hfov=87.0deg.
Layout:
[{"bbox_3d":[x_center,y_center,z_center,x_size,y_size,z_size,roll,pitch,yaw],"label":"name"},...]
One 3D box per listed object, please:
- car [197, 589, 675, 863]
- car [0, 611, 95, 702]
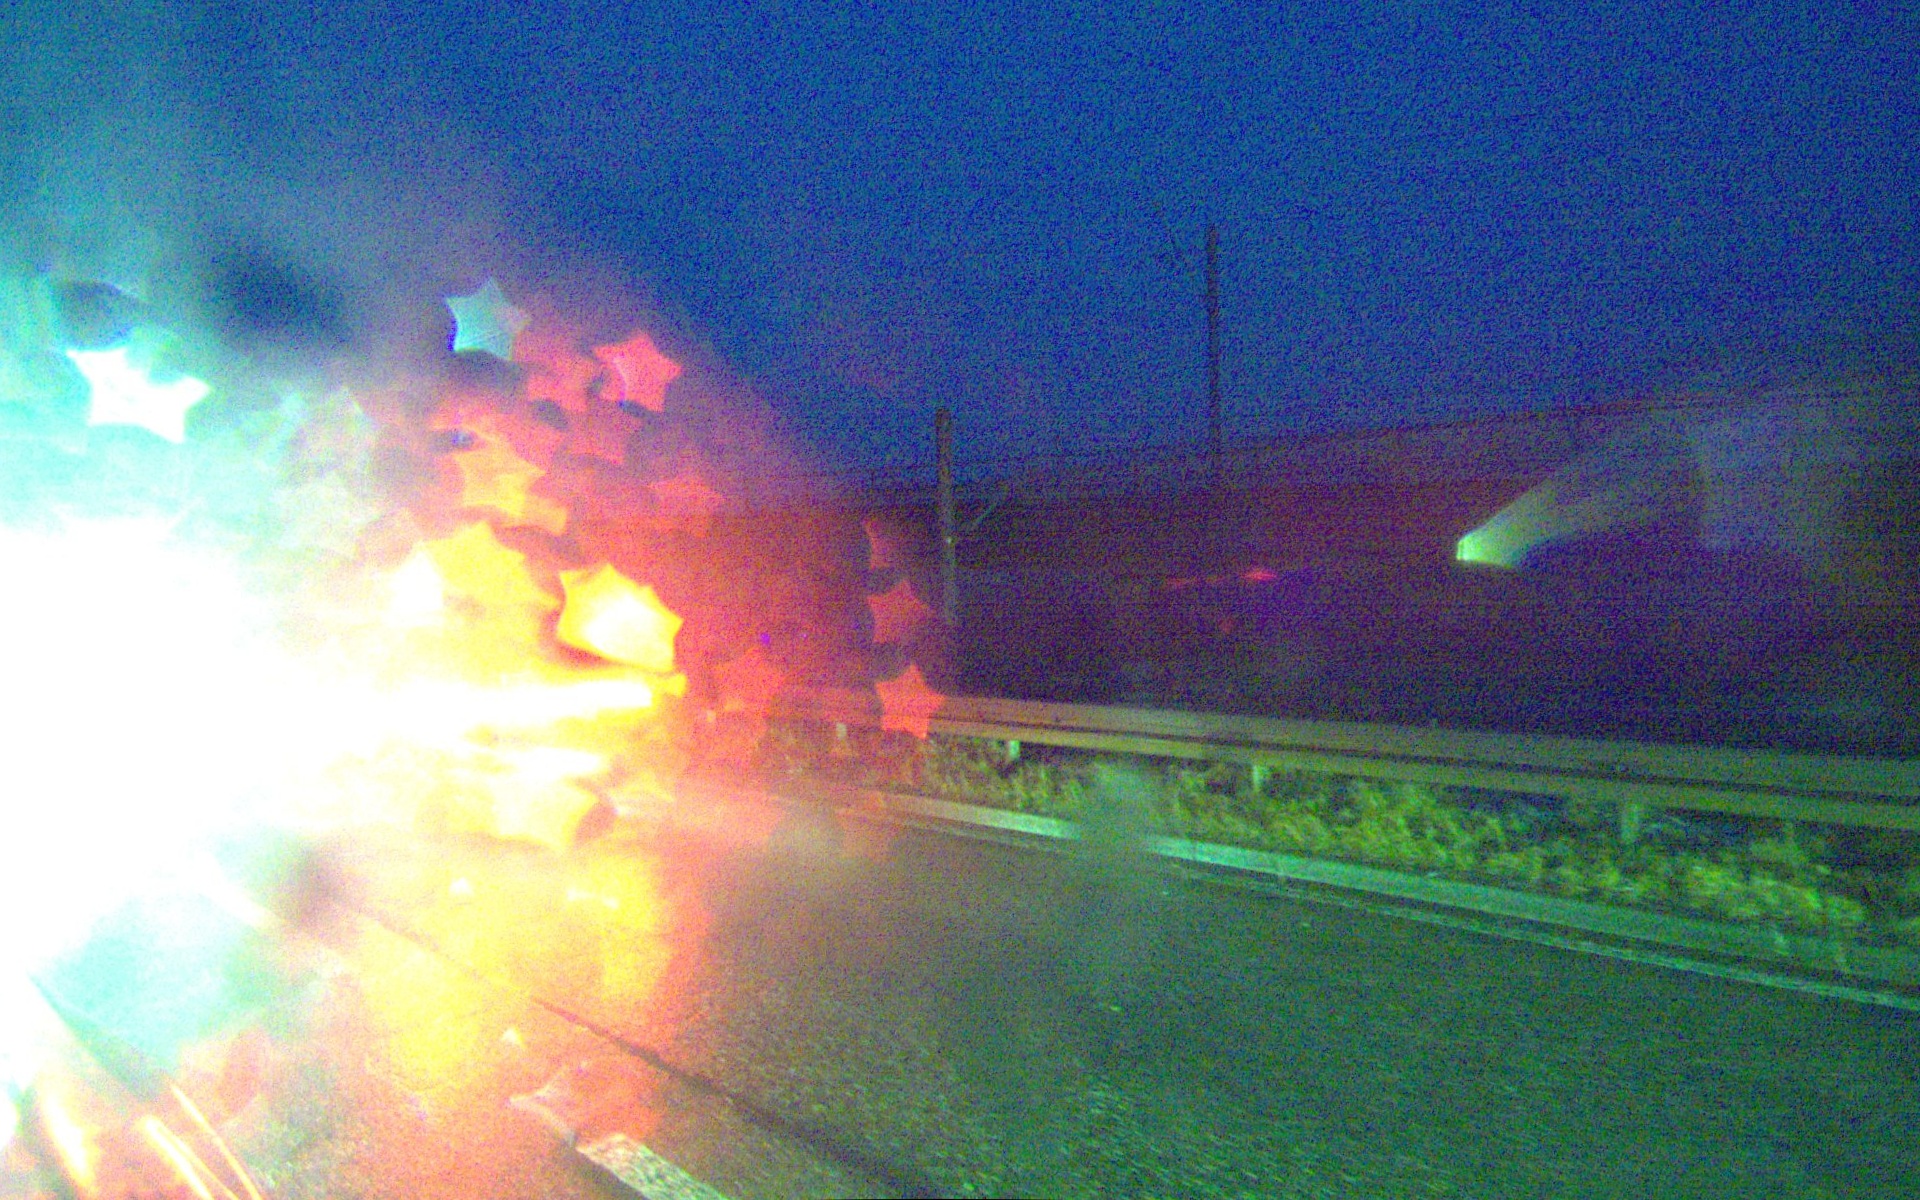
[{"bbox_3d":[-4.219,0.752,7.831,4.254,1.557,1.819,-2,-1,41],"label":"car"},{"bbox_3d":[-18.878,1.073,20.065,4.121,1.668,1.932,-1,-2,40],"label":"car"}]
